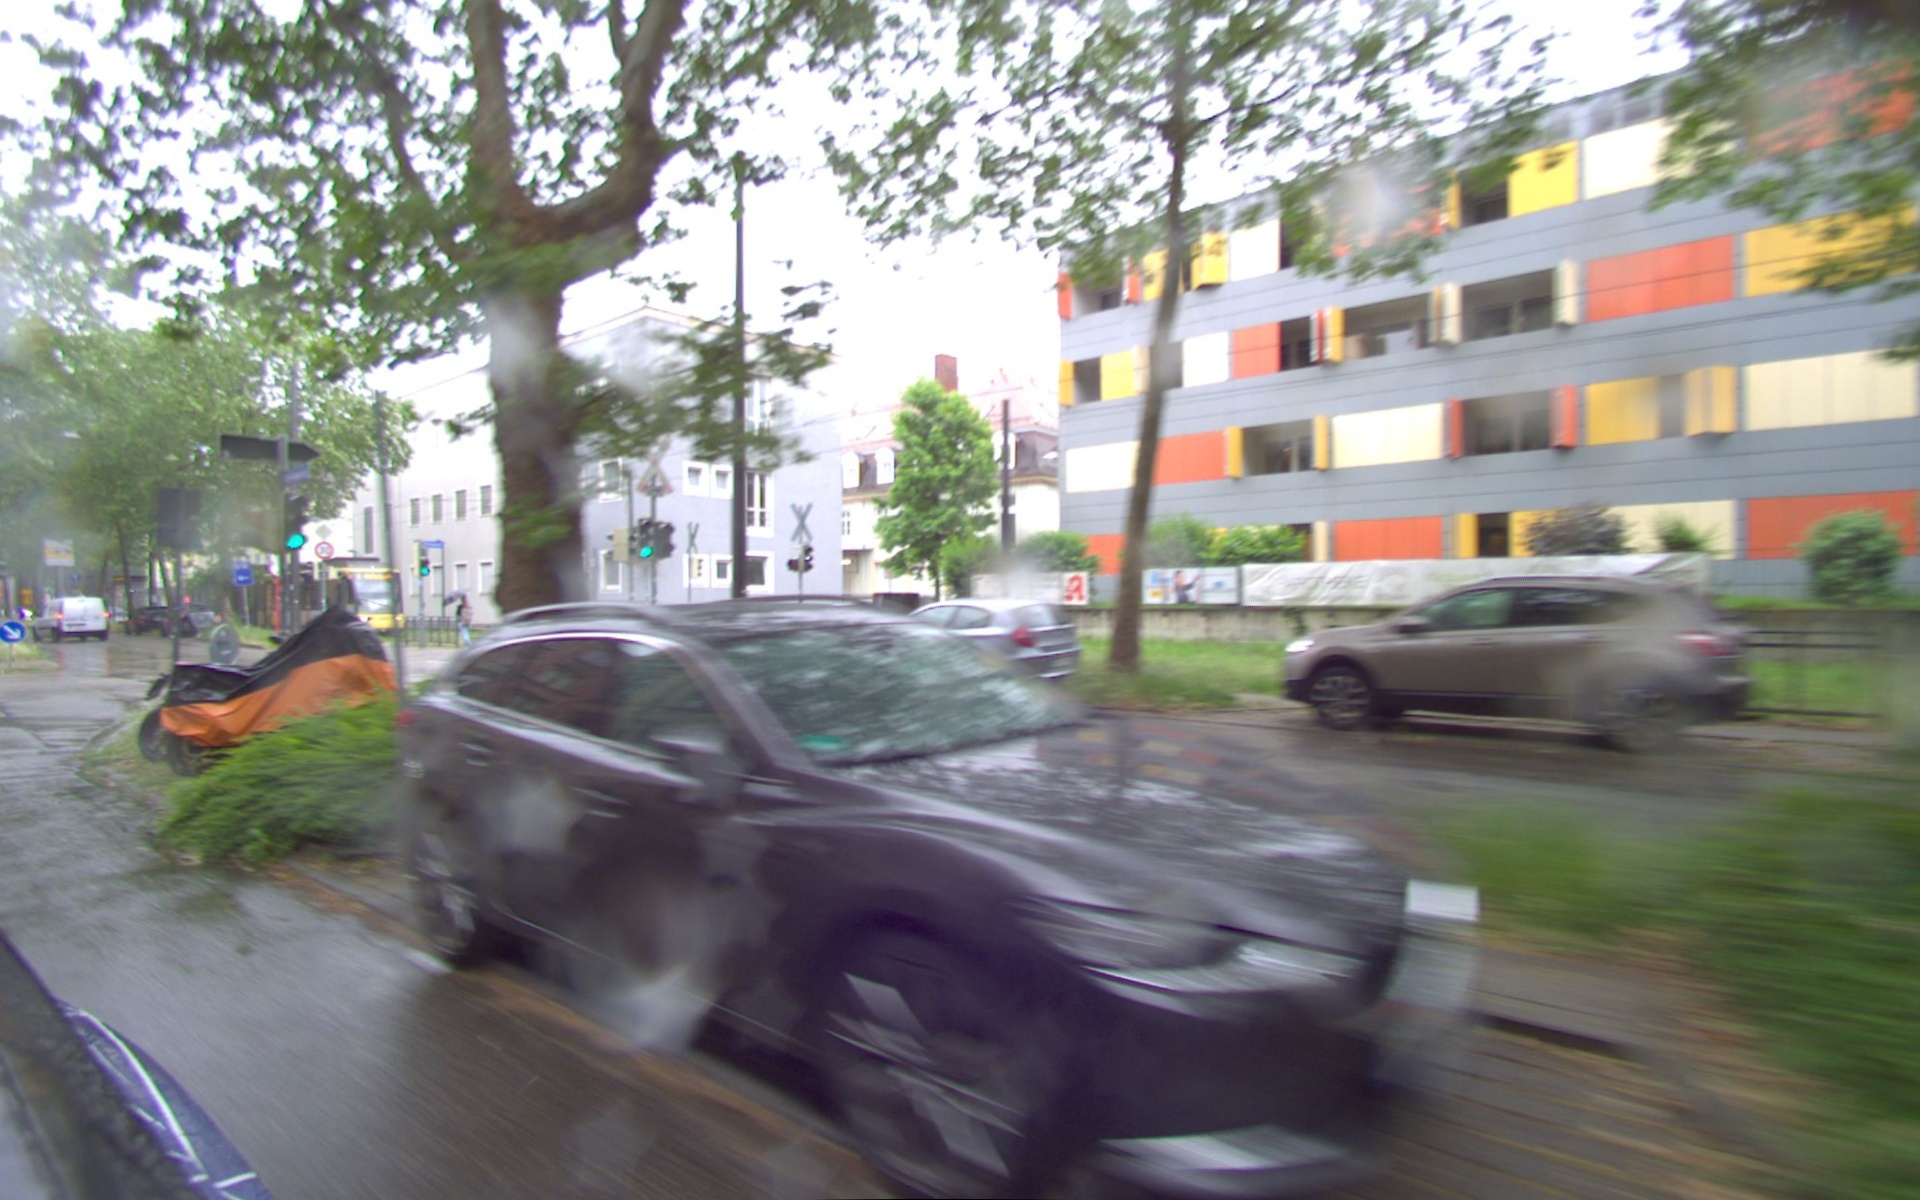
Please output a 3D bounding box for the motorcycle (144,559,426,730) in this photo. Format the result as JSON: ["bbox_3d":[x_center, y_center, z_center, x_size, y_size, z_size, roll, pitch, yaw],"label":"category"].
[{"bbox_3d":[-6.251,0.389,9.477,2.077,1.511,0.772,0,0,-6],"label":"motorcycle"}]

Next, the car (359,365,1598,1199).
[{"bbox_3d":[-0.424,0.373,3.871,4.619,1.496,1.876,-1,1,41],"label":"car"}]

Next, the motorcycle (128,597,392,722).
[{"bbox_3d":[-7.212,0.588,10.530,2.110,1.218,0.870,0,0,-4],"label":"motorcycle"}]

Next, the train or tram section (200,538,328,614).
[{"bbox_3d":[-36.956,-1.174,53.497,11.548,3.669,2.869,0,1,42],"label":"train or tram section"}]

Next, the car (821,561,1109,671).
[{"bbox_3d":[-0.034,0.229,15.772,4.387,1.474,1.884,-1,0,42],"label":"car"}]

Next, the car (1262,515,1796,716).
[{"bbox_3d":[5.594,0.142,10.311,4.465,1.612,1.884,-1,0,41],"label":"car"}]

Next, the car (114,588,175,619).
[{"bbox_3d":[-40.325,0.164,50.033,3.703,1.395,1.655,-1,3,41],"label":"car"}]

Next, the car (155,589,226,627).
[{"bbox_3d":[-33.922,0.342,44.588,3.972,1.520,1.655,-1,3,41],"label":"car"}]

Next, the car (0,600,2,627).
[{"bbox_3d":[-59.548,0.838,60.892,4.665,1.631,2.037,-1,0,37],"label":"car"}]

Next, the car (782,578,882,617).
[{"bbox_3d":[-5.286,-0.095,42.188,1.886,1.539,4.039,-1,0,38],"label":"car"}]

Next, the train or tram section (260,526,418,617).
[{"bbox_3d":[-28.327,-1.170,45.811,11.548,3.669,2.869,0,1,42],"label":"train or tram section"}]

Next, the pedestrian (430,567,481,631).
[{"bbox_3d":[-14.624,-0.031,29.346,1.205,1.813,0.926,0,0,41],"label":"pedestrian"}]

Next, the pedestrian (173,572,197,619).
[{"bbox_3d":[-31.306,-0.183,40.870,0.635,1.869,0.654,-1,0,42],"label":"pedestrian"}]

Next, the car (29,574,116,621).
[{"bbox_3d":[-36.768,-0.071,41.892,4.059,1.863,1.914,-1,0,37],"label":"car"}]
